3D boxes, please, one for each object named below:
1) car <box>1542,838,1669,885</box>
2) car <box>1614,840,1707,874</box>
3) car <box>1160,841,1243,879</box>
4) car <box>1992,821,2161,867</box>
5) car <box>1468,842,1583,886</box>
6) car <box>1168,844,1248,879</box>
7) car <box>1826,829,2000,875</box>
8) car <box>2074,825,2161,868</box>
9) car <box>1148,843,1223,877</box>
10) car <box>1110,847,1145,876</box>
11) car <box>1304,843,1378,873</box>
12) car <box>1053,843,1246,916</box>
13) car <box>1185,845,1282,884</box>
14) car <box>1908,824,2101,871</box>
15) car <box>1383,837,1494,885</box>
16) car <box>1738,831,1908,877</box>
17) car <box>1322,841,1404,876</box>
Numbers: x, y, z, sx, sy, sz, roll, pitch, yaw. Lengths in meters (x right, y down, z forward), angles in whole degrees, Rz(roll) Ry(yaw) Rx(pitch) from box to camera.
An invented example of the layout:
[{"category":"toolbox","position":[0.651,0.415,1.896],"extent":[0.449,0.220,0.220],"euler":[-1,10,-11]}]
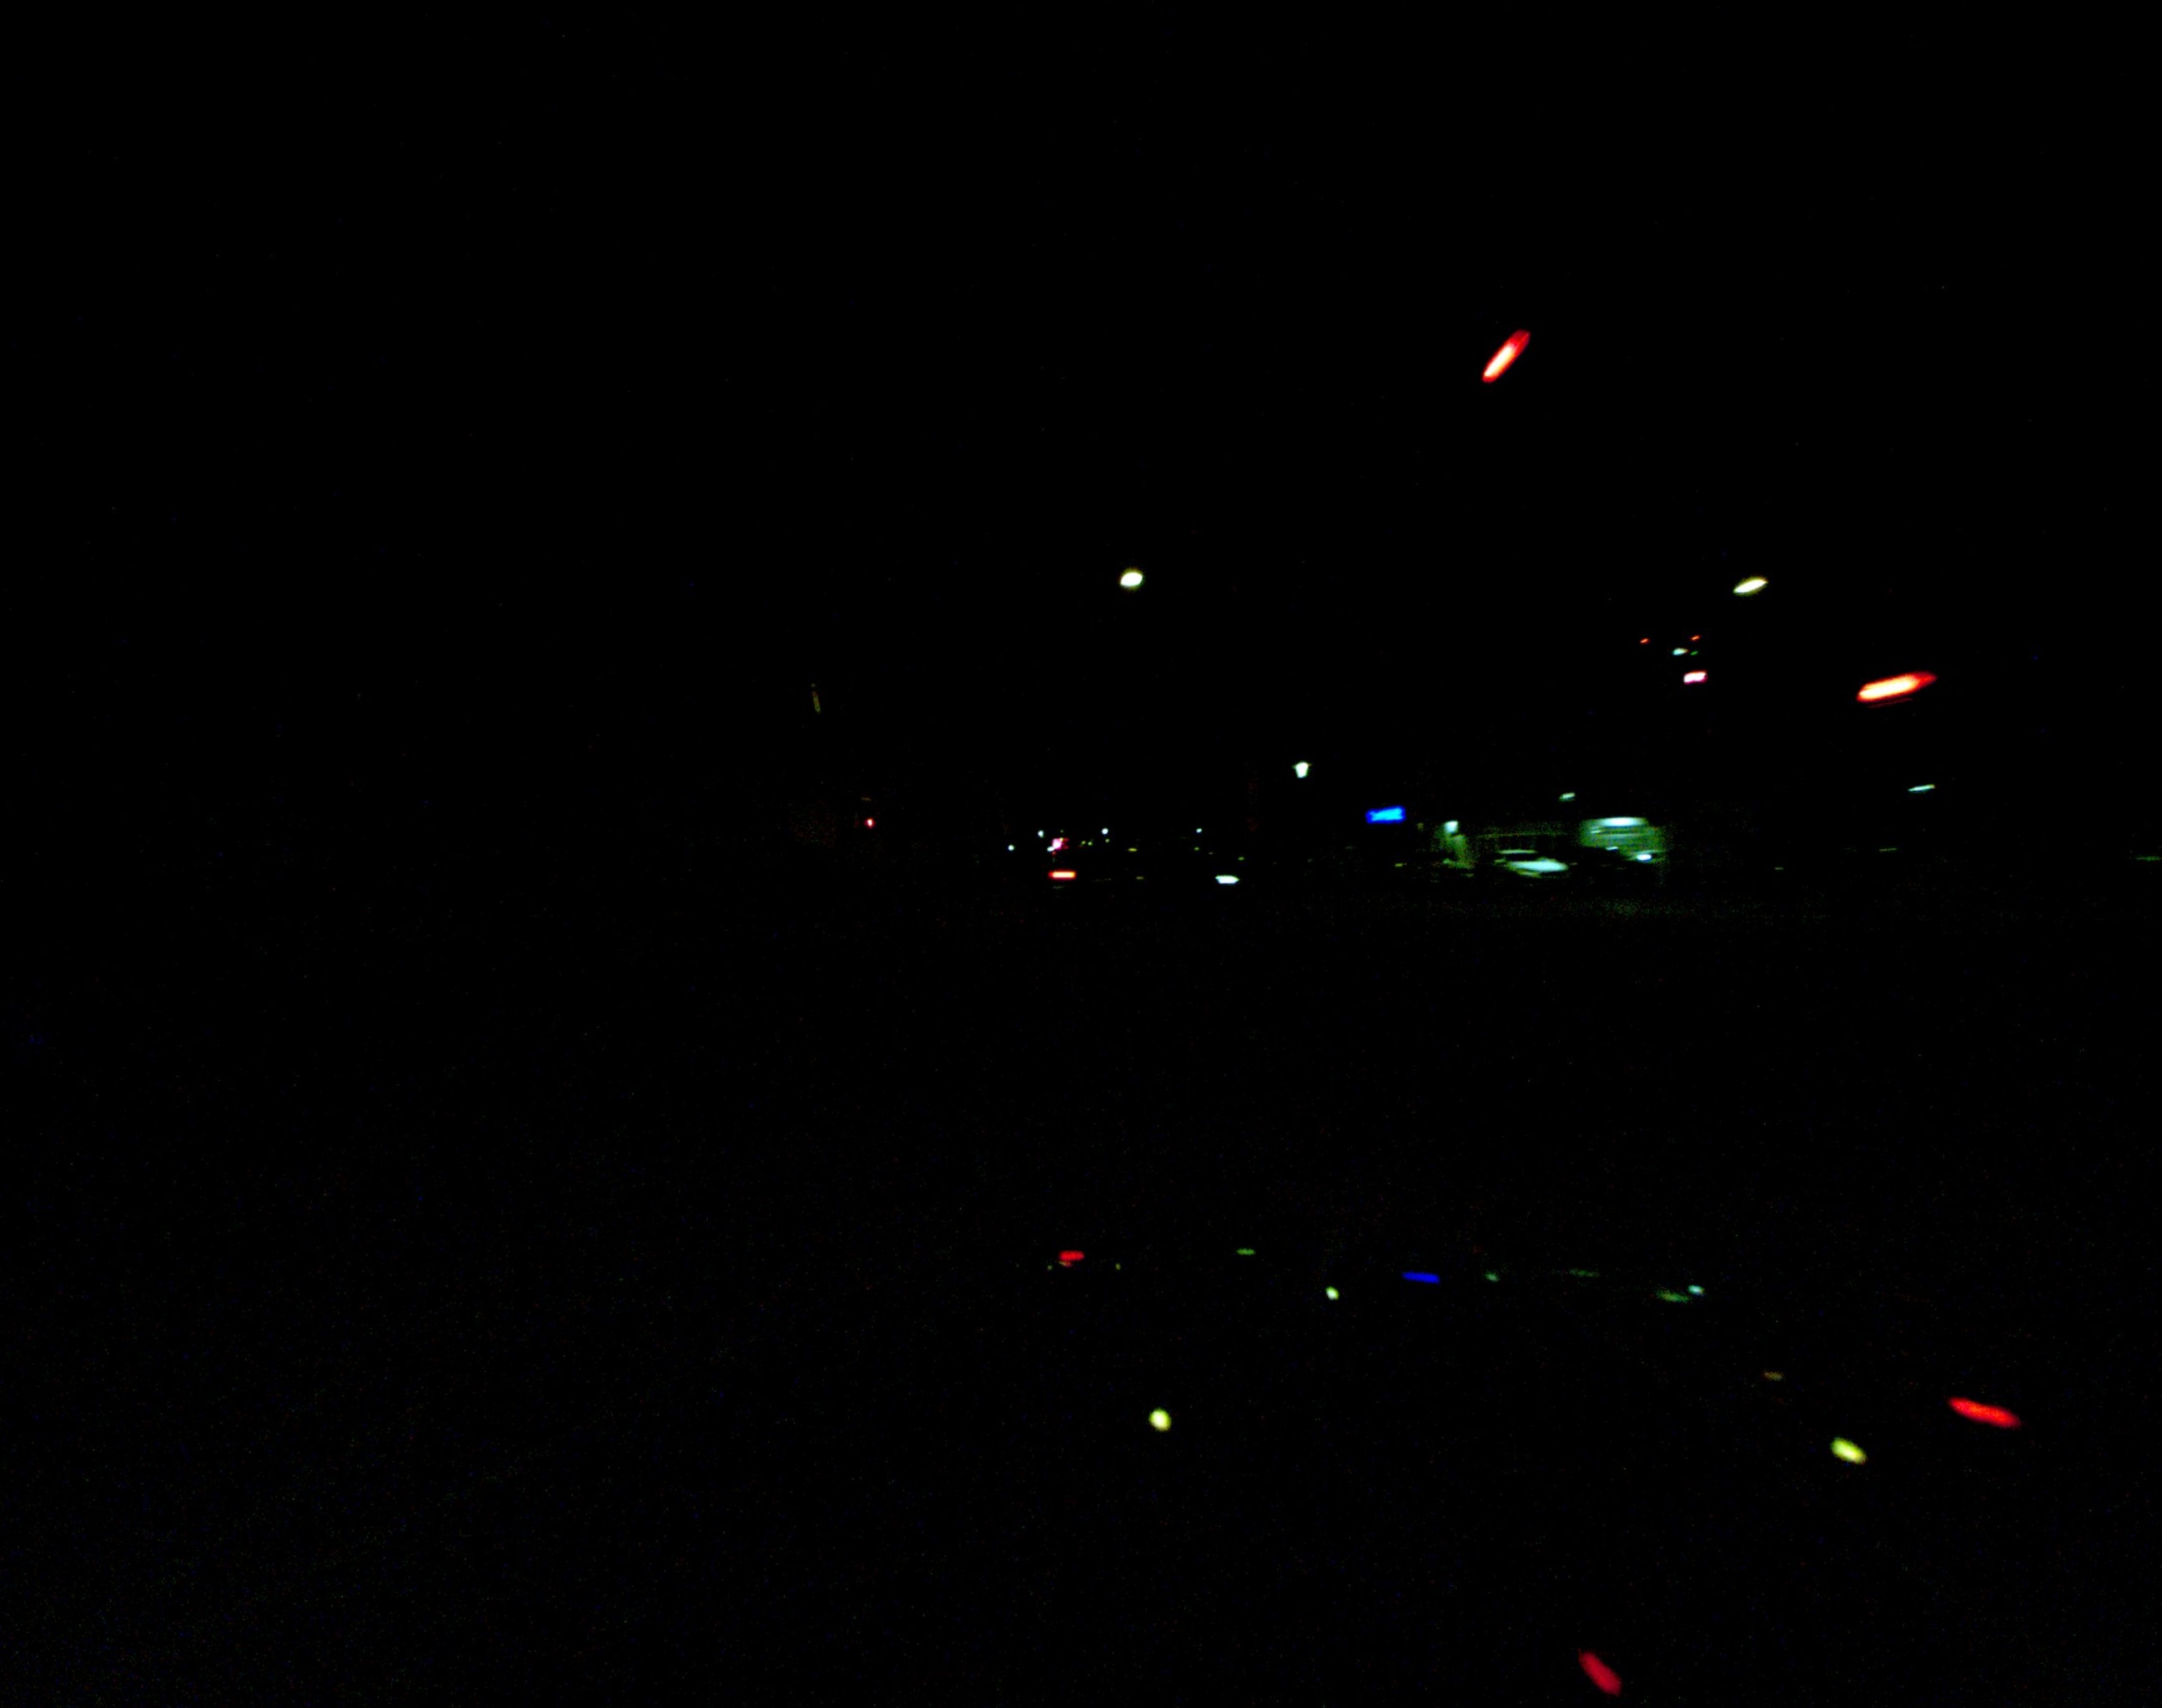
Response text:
[{"category":"car","position":[18.954,0.238,27.708],"extent":[1.864,1.544,4.070],"euler":[-2,0,1]},{"category":"car","position":[27.742,0.125,36.366],"extent":[4.280,1.469,1.730],"euler":[-2,1,-25]},{"category":"car","position":[6.240,0.303,39.741],"extent":[4.054,1.879,1.634],"euler":[-1,1,-1]},{"category":"car","position":[35.535,-0.344,26.881],"extent":[1.781,1.469,4.027],"euler":[-2,0,1]},{"category":"car","position":[15.913,0.323,27.488],"extent":[1.864,1.452,4.070],"euler":[-1,0,1]},{"category":"car","position":[6.195,0.364,37.289],"extent":[3.576,1.619,1.620],"euler":[-1,1,-1]},{"category":"car","position":[29.299,-0.084,26.957],"extent":[1.732,1.469,4.086],"euler":[-2,0,1]},{"category":"car","position":[38.450,-0.293,26.771],"extent":[1.765,1.469,3.958],"euler":[-2,0,1]},{"category":"car","position":[5.741,0.293,41.980],"extent":[3.847,1.781,1.634],"euler":[-1,1,-1]},{"category":"car","position":[2.820,0.436,46.559],"extent":[1.936,1.646,3.833],"euler":[-1,1,1]},{"category":"car","position":[14.495,0.231,42.467],"extent":[3.575,1.577,1.634],"euler":[-1,1,0]},{"category":"car","position":[1.576,0.577,18.032],"extent":[4.312,1.550,1.686],"euler":[-1,1,2]},{"category":"car","position":[6.456,0.422,32.359],"extent":[3.763,1.577,1.634],"euler":[-1,1,-1]},{"category":"car","position":[32.370,-0.225,26.845],"extent":[1.864,1.469,4.086],"euler":[-2,0,1]},{"category":"car","position":[12.902,0.223,27.771],"extent":[1.998,1.548,4.387],"euler":[-2,0,1]},{"category":"car","position":[26.442,0.029,27.325],"extent":[1.864,1.469,4.355],"euler":[-2,-1,1]},{"category":"car","position":[14.459,0.204,39.065],"extent":[3.575,1.690,1.634],"euler":[-1,1,2]}]
